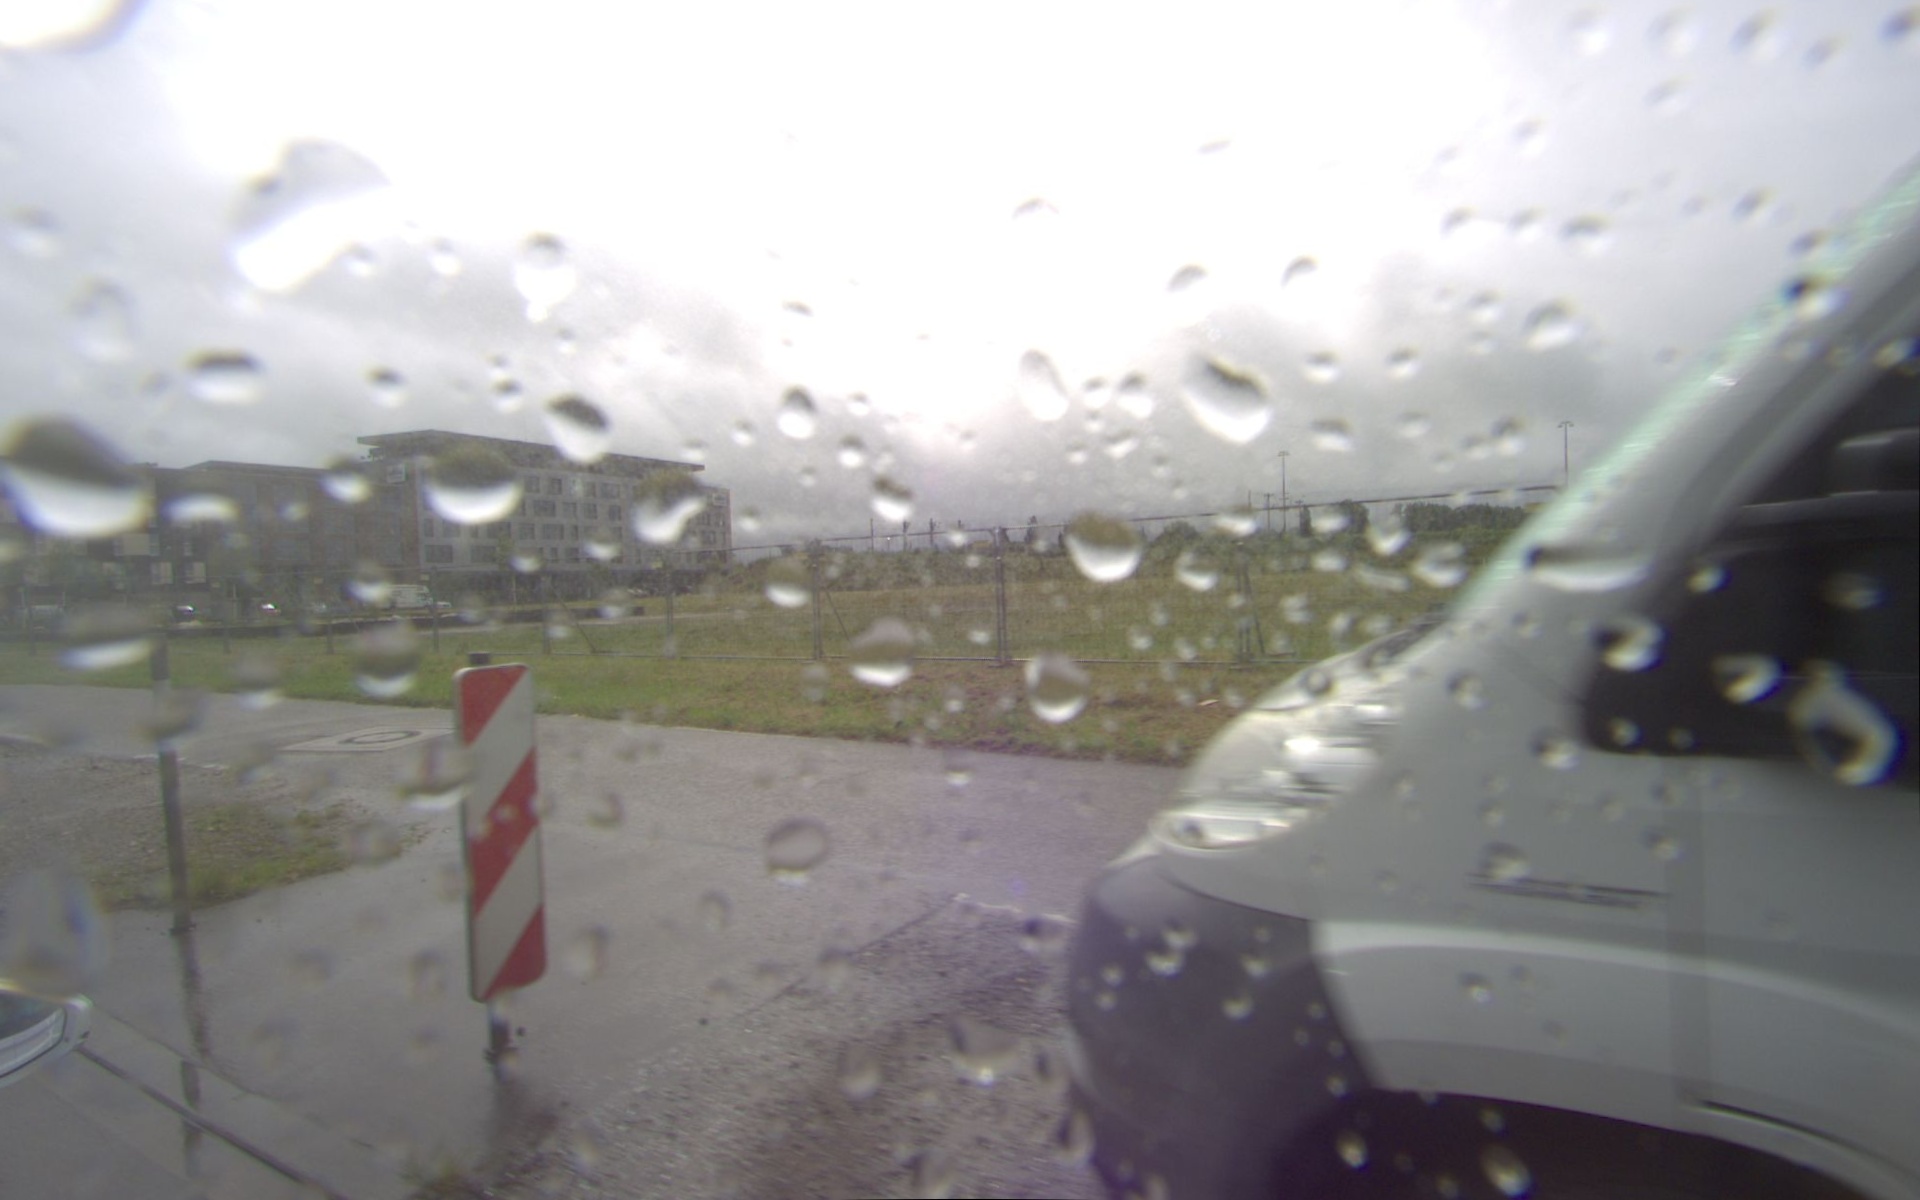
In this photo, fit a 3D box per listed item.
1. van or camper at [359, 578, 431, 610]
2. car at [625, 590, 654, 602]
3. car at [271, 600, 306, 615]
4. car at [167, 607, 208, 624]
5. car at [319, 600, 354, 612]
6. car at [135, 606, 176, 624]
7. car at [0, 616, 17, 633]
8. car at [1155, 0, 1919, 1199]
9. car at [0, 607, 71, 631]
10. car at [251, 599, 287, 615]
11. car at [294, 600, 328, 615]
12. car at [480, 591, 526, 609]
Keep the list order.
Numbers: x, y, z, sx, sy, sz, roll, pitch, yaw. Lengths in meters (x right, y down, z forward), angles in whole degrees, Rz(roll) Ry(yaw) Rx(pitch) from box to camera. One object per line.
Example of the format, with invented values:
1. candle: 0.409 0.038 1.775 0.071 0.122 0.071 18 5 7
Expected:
1. van or camper: -62.426 -0.606 110.814 2.490 3.242 6.777 -1 -1 26
2. car: -48.280 -0.619 150.885 4.303 1.709 1.792 -1 -1 29
3. car: -73.934 0.842 110.267 3.780 1.636 1.544 -1 -1 26
4. car: -78.395 1.565 101.608 3.780 1.636 1.780 -1 -1 26
5. car: -71.716 0.696 115.197 3.841 1.313 1.547 -1 -1 26
6. car: -79.708 1.497 99.210 3.780 1.636 1.780 -1 -1 26
7. car: -85.070 2.167 88.244 3.722 1.414 1.637 -2 -1 26
8. car: 3.313 0.096 0.667 5.863 2.507 2.086 -1 3 32
9. car: -76.524 1.562 82.650 1.969 1.794 4.324 -1 -3 27
10. car: -74.868 0.799 108.423 3.780 1.636 1.544 -1 -1 26
11. car: -72.904 0.893 112.495 3.780 1.636 1.544 -1 -1 26
12. car: -54.782 0.038 120.038 1.970 2.039 4.791 -1 -1 30
